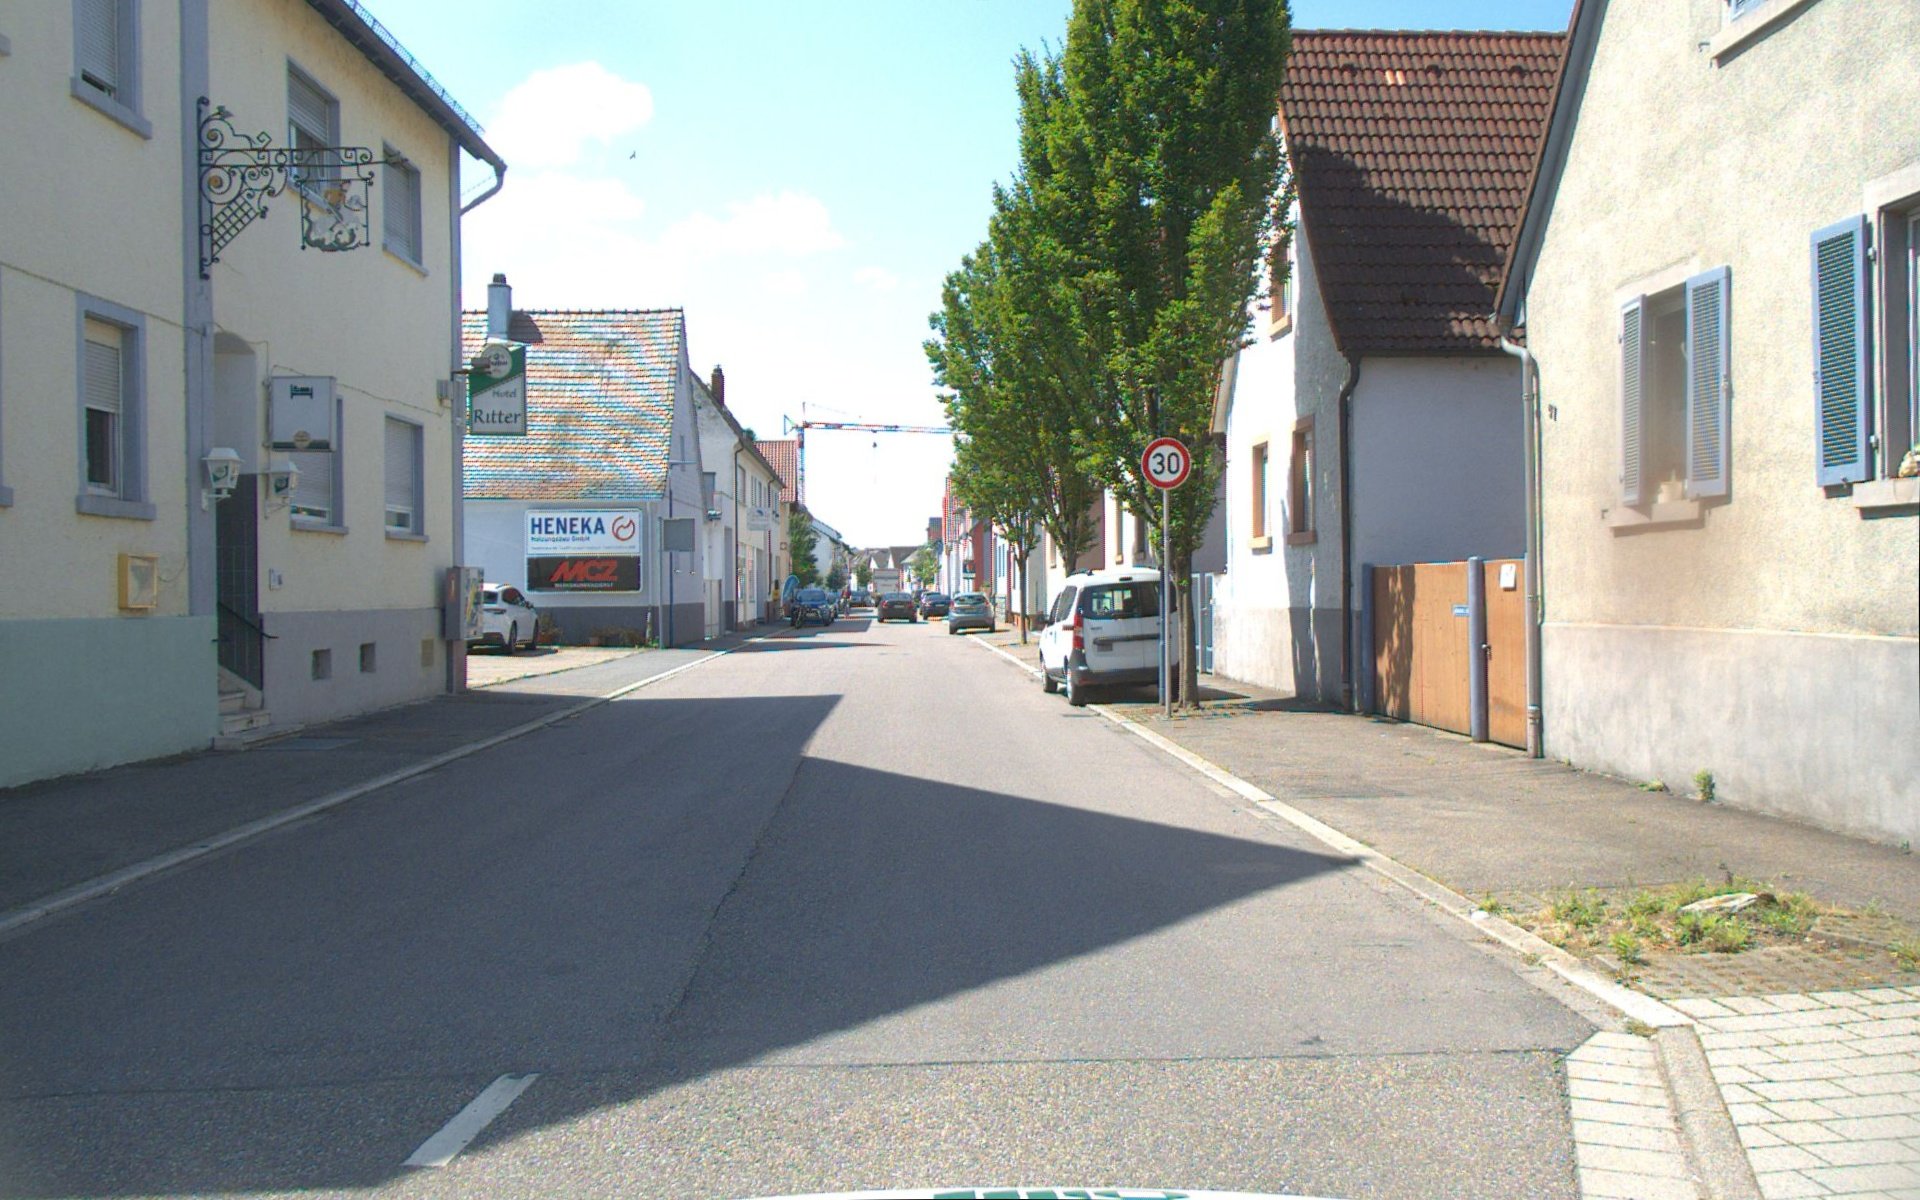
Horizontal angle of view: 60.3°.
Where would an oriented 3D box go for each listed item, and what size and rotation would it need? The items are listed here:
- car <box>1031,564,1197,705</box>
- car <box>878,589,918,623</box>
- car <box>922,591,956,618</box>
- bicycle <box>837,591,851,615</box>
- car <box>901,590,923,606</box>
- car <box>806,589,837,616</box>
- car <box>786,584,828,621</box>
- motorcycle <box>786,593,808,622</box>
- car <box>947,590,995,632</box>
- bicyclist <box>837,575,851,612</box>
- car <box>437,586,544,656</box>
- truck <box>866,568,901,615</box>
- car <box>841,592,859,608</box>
[{"bbox_3d":[2.160,0.445,24.245,1.686,1.821,4.140,-2,1,-5],"label":"car"},{"bbox_3d":[-2.997,0.256,80.064,1.864,1.591,4.475,0,1,-2],"label":"car"},{"bbox_3d":[-1.141,0.218,89.252,1.685,1.379,4.154,0,0,-3],"label":"car"},{"bbox_3d":[-6.483,0.185,92.511,0.736,1.331,2.683,1,0,-4],"label":"bicycle"},{"bbox_3d":[-4.015,-0.176,138.026,1.685,1.291,4.154,0,0,-3],"label":"car"},{"bbox_3d":[-8.379,0.132,100.014,1.773,1.617,3.997,0,0,-4],"label":"car"},{"bbox_3d":[-6.880,0.110,74.811,1.773,1.617,3.997,0,0,-4],"label":"car"},{"bbox_3d":[-6.980,0.327,70.973,0.829,1.190,2.467,1,0,-4],"label":"motorcycle"},{"bbox_3d":[0.375,0.373,60.931,1.684,1.487,4.155,0,0,-1],"label":"car"},{"bbox_3d":[-6.475,-0.358,92.505,0.725,2.095,0.844,1,0,-4],"label":"bicyclist"},{"bbox_3d":[-11.297,0.470,40.026,1.686,1.583,4.195,1,0,-5],"label":"car"},{"bbox_3d":[-7.201,-0.807,157.389,3.081,4.325,9.299,1,0,-2],"label":"truck"},{"bbox_3d":[-11.288,0.024,169.697,1.773,1.617,3.997,0,0,-3],"label":"car"}]
